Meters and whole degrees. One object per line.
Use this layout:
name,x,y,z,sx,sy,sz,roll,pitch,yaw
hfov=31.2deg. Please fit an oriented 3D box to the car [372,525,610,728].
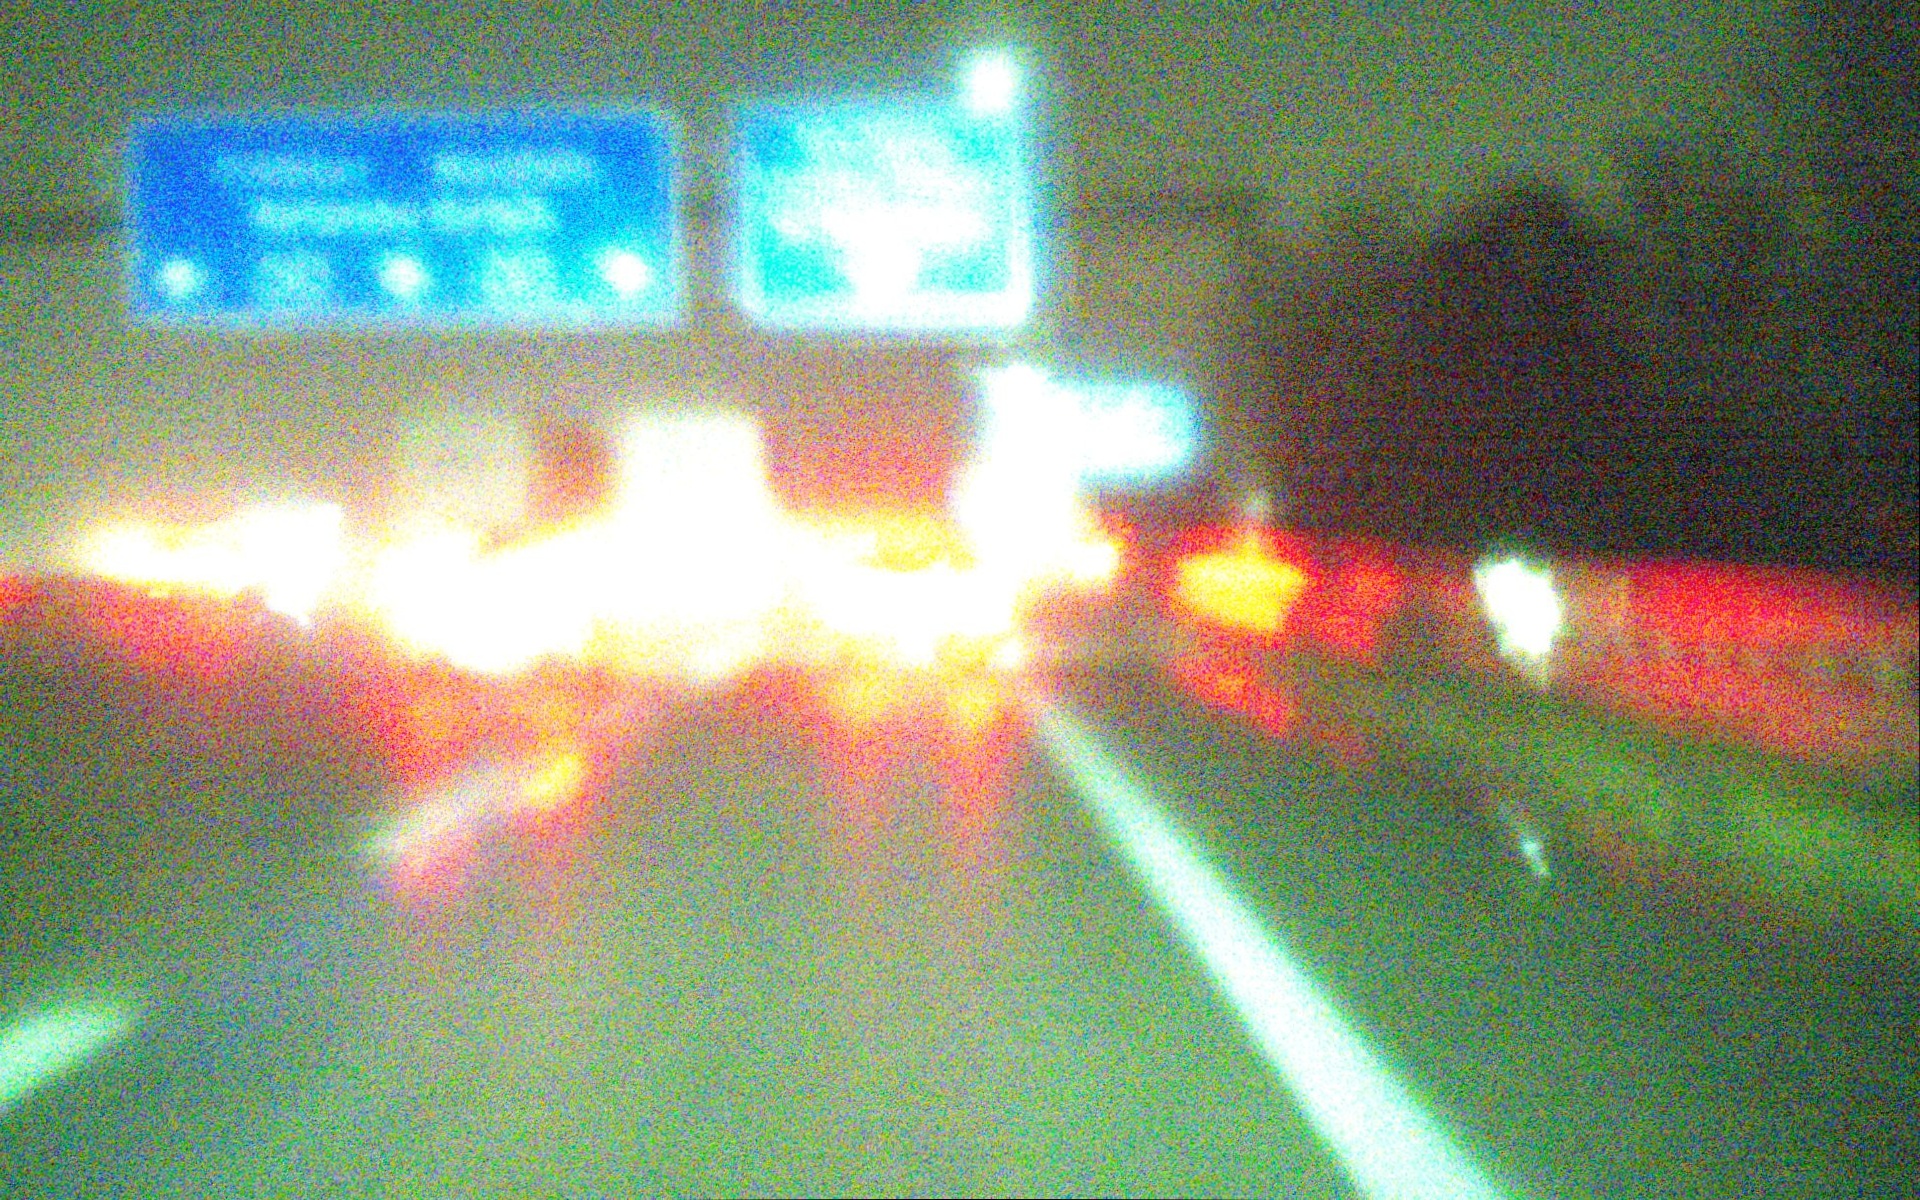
car,-4.949,0.237,36.877,2.125,2.007,4.646,1,1,-3

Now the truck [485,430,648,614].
truck,-12.761,-2.486,112.698,4.210,5.629,11.468,1,1,-1

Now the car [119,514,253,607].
car,-14.034,-0.719,62.515,1.993,1.590,4.001,1,1,-7

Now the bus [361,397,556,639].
bus,-10.052,-1.606,69.985,3.096,4.492,10.915,1,1,-4

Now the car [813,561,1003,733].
car,-0.581,0.476,38.549,1.993,1.801,4.000,1,1,-1

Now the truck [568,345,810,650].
truck,-5.326,-1.981,70.056,4.210,5.629,11.468,1,1,-1
